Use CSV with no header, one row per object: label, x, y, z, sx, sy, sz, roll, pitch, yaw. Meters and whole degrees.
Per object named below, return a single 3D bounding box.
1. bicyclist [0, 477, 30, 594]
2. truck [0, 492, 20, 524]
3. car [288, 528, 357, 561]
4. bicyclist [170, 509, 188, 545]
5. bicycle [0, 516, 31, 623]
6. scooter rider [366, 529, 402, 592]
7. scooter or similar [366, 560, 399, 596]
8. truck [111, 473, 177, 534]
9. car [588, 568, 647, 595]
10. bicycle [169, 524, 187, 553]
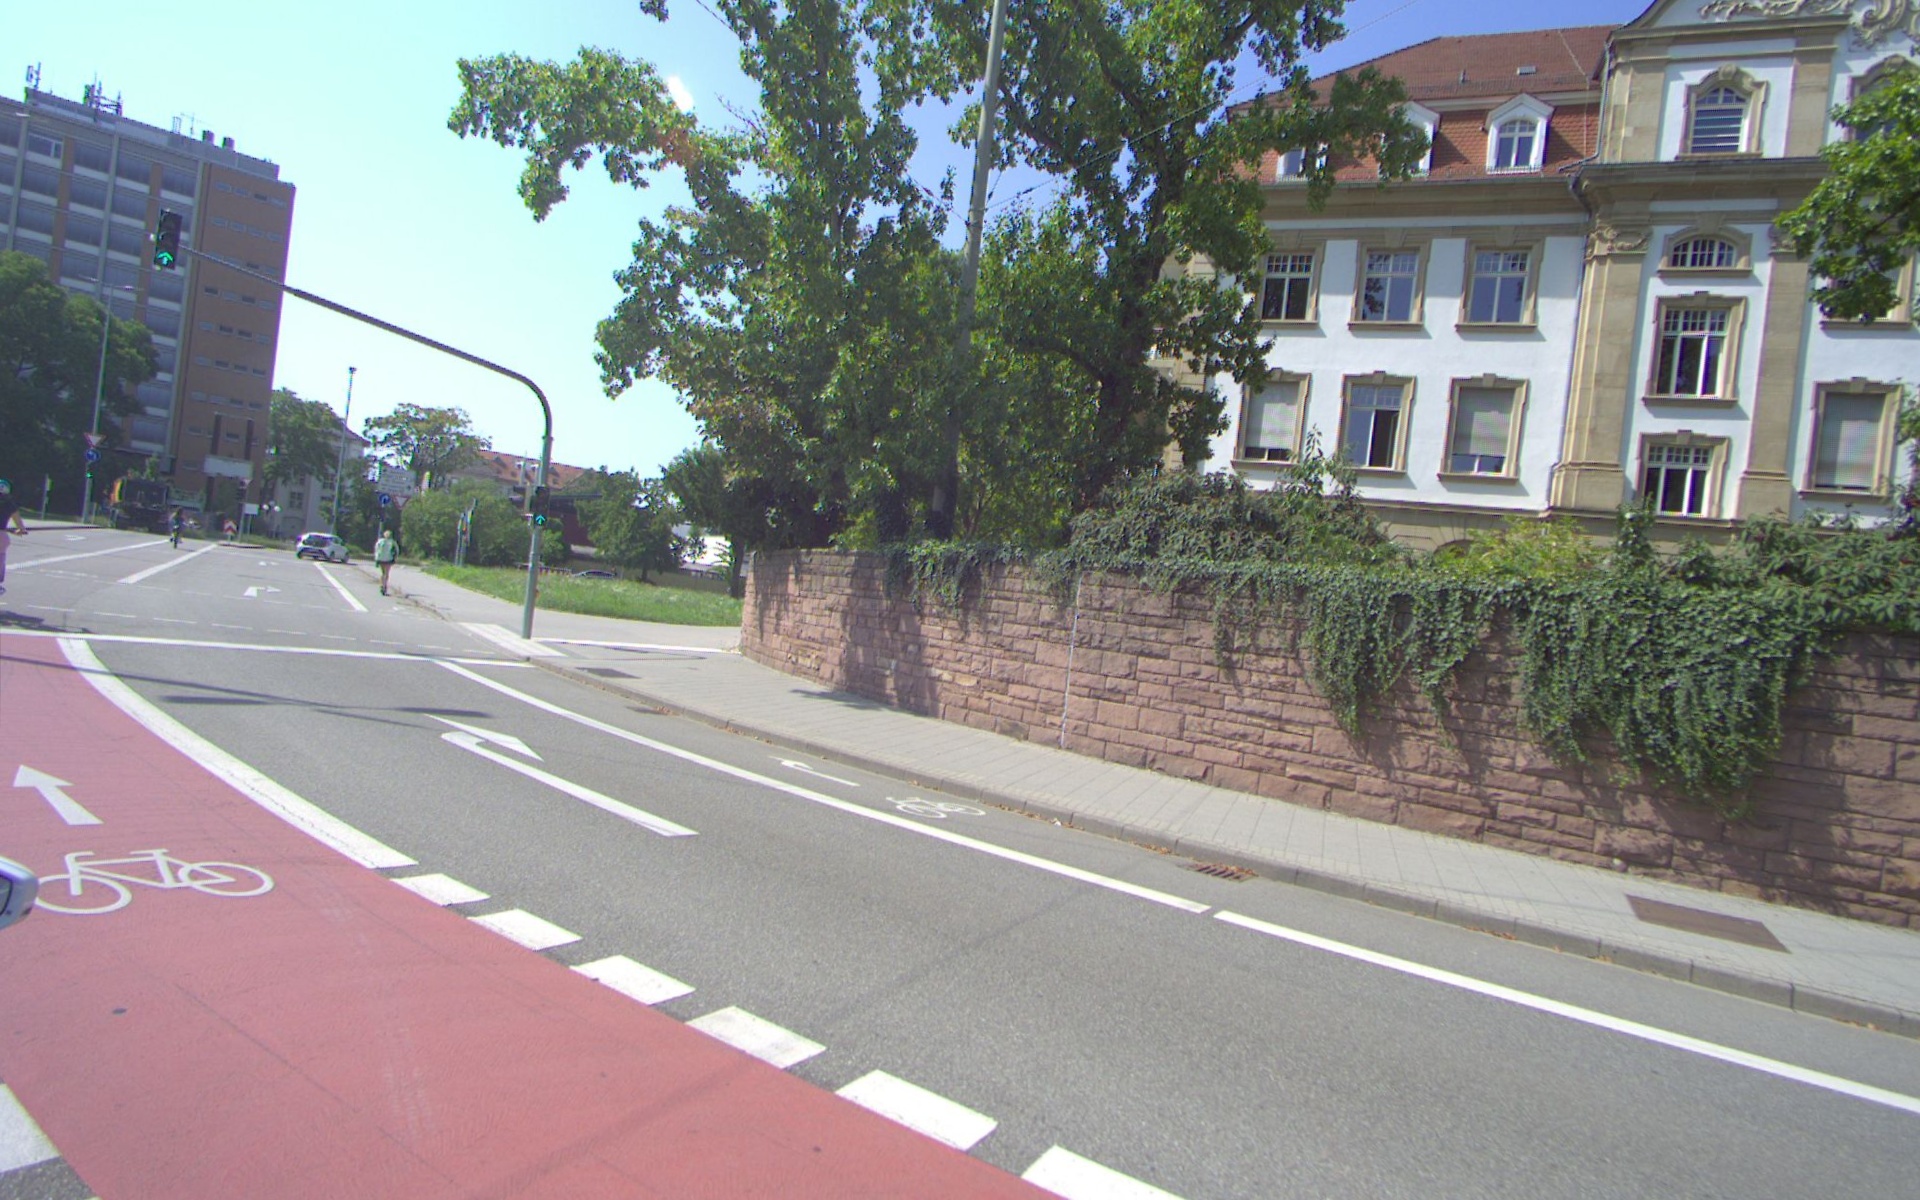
bicyclist,-11.557,-0.800,11.934,0.600,1.351,0.653,7,0,-38
truck,-47.270,-4.566,49.038,1.546,1.523,3.585,7,0,-36
car,-34.668,-2.992,54.835,1.819,1.408,3.990,7,-1,-13
bicyclist,-32.119,-2.996,41.386,0.447,1.439,0.491,6,1,-36
bicycle,-11.651,-0.415,11.999,0.601,1.177,1.791,7,0,-38
scooter rider,-17.493,-1.194,30.542,0.756,1.797,0.550,7,0,-31
scooter or similar,-17.511,-0.683,30.489,0.766,0.937,1.607,8,-1,-30
truck,-48.602,-5.688,59.901,2.686,3.025,5.901,8,-1,-40
car,-27.091,-1.492,79.543,3.960,1.584,1.807,7,0,-33
bicycle,-32.104,-2.542,41.311,0.441,1.130,1.432,6,0,-36
